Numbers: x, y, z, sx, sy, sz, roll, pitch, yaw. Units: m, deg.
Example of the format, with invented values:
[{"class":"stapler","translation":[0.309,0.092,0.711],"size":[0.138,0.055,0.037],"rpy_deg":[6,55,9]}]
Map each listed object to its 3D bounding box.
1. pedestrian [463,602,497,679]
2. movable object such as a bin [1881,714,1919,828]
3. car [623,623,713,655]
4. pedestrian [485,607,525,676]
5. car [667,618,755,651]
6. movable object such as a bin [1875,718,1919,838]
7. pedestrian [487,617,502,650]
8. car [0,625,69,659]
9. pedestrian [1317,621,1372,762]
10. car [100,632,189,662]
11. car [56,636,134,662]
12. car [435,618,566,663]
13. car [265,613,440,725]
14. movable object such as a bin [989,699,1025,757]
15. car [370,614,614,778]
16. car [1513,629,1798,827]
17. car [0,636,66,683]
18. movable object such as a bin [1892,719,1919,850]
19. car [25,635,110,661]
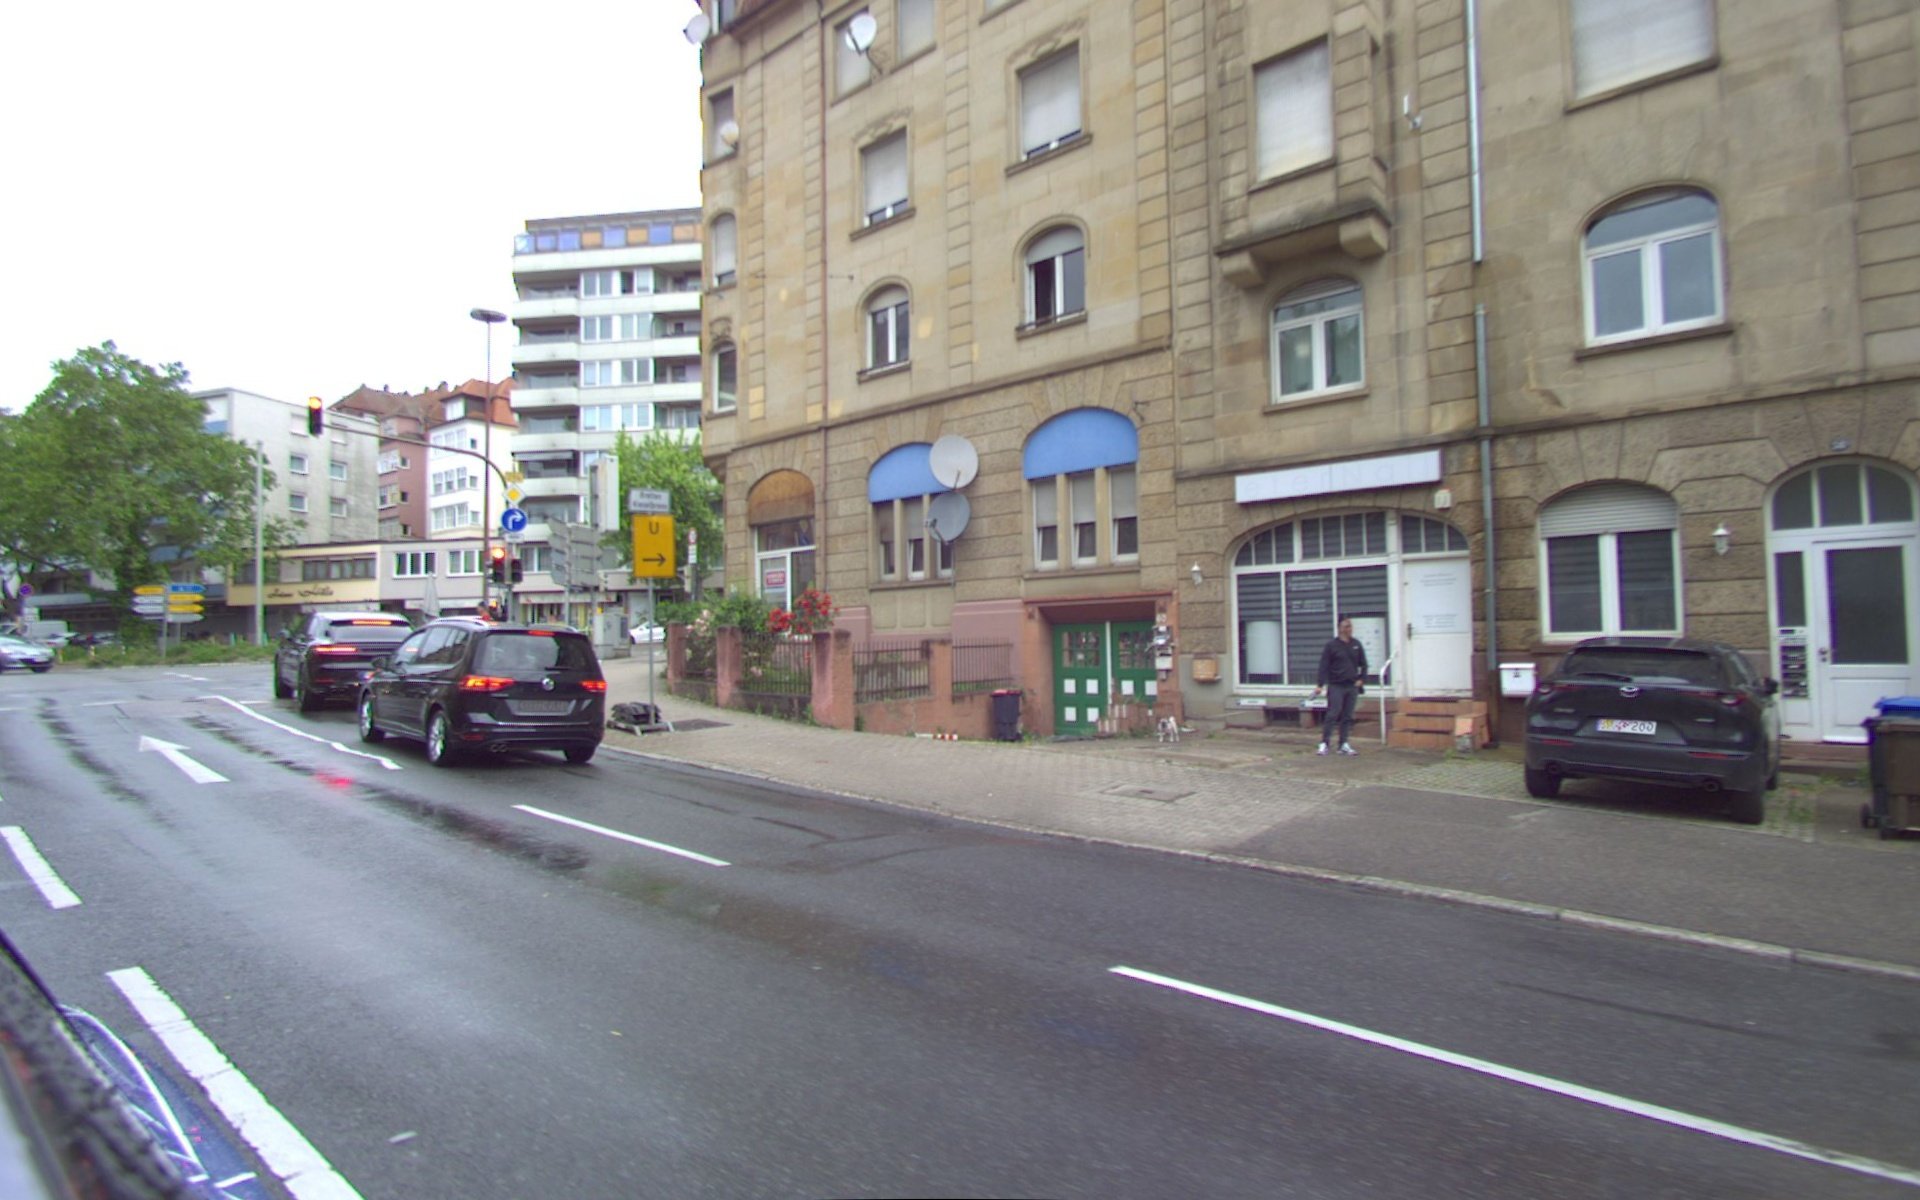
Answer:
[{"class":"pedestrian","translation":[-11.403,0.945,24.055],"size":[0.516,1.787,0.694],"rpy_deg":[-1,-1,-43]},{"class":"movable object such as a bin","translation":[8.281,1.474,8.737],"size":[0.499,0.910,0.441],"rpy_deg":[0,-1,-44]},{"class":"car","translation":[-15.627,2.069,54.213],"size":[4.317,1.503,1.920],"rpy_deg":[-1,-1,-27]},{"class":"pedestrian","translation":[-11.552,1.039,25.691],"size":[0.829,1.715,0.629],"rpy_deg":[-2,-1,43]},{"class":"car","translation":[-12.394,1.709,50.388],"size":[3.954,1.503,1.772],"rpy_deg":[-1,-2,-27]},{"class":"movable object such as a bin","translation":[7.883,1.464,8.357],"size":[0.499,0.910,0.441],"rpy_deg":[0,-1,-44]},{"class":"pedestrian","translation":[-24.167,1.730,52.592],"size":[0.609,1.706,0.626],"rpy_deg":[0,-1,-14]},{"class":"car","translation":[-59.436,2.596,63.644],"size":[1.861,1.992,4.957],"rpy_deg":[0,0,12]},{"class":"pedestrian","translation":[5.082,1.183,13.378],"size":[0.564,1.790,0.472],"rpy_deg":[-1,-1,37]},{"class":"car","translation":[-49.127,2.799,61.062],"size":[1.915,1.655,4.213],"rpy_deg":[0,0,3]},{"class":"car","translation":[-52.463,2.936,61.465],"size":[1.609,1.426,3.619],"rpy_deg":[0,0,3]},{"class":"car","translation":[-17.230,1.492,38.047],"size":[4.148,1.546,1.760],"rpy_deg":[0,-1,-40]},{"class":"car","translation":[-11.167,1.126,18.437],"size":[1.940,1.706,4.815],"rpy_deg":[1,-1,-41]},{"class":"movable object such as a bin","translation":[0.832,2.248,17.829],"size":[0.469,0.957,0.418],"rpy_deg":[0,-1,-44]},{"class":"car","translation":[-5.920,1.083,12.502],"size":[1.600,1.662,4.427],"rpy_deg":[5,-5,-39]},{"class":"car","translation":[6.998,1.149,9.999],"size":[1.872,1.522,4.104],"rpy_deg":[-2,-5,41]},{"class":"car","translation":[-32.882,1.997,34.072],"size":[4.124,1.494,1.756],"rpy_deg":[-1,-2,2]},{"class":"movable object such as a bin","translation":[7.597,1.442,7.889],"size":[0.499,0.957,0.441],"rpy_deg":[0,-1,-44]},{"class":"car","translation":[-54.653,2.929,62.057],"size":[1.790,1.426,3.697],"rpy_deg":[0,0,7]}]
